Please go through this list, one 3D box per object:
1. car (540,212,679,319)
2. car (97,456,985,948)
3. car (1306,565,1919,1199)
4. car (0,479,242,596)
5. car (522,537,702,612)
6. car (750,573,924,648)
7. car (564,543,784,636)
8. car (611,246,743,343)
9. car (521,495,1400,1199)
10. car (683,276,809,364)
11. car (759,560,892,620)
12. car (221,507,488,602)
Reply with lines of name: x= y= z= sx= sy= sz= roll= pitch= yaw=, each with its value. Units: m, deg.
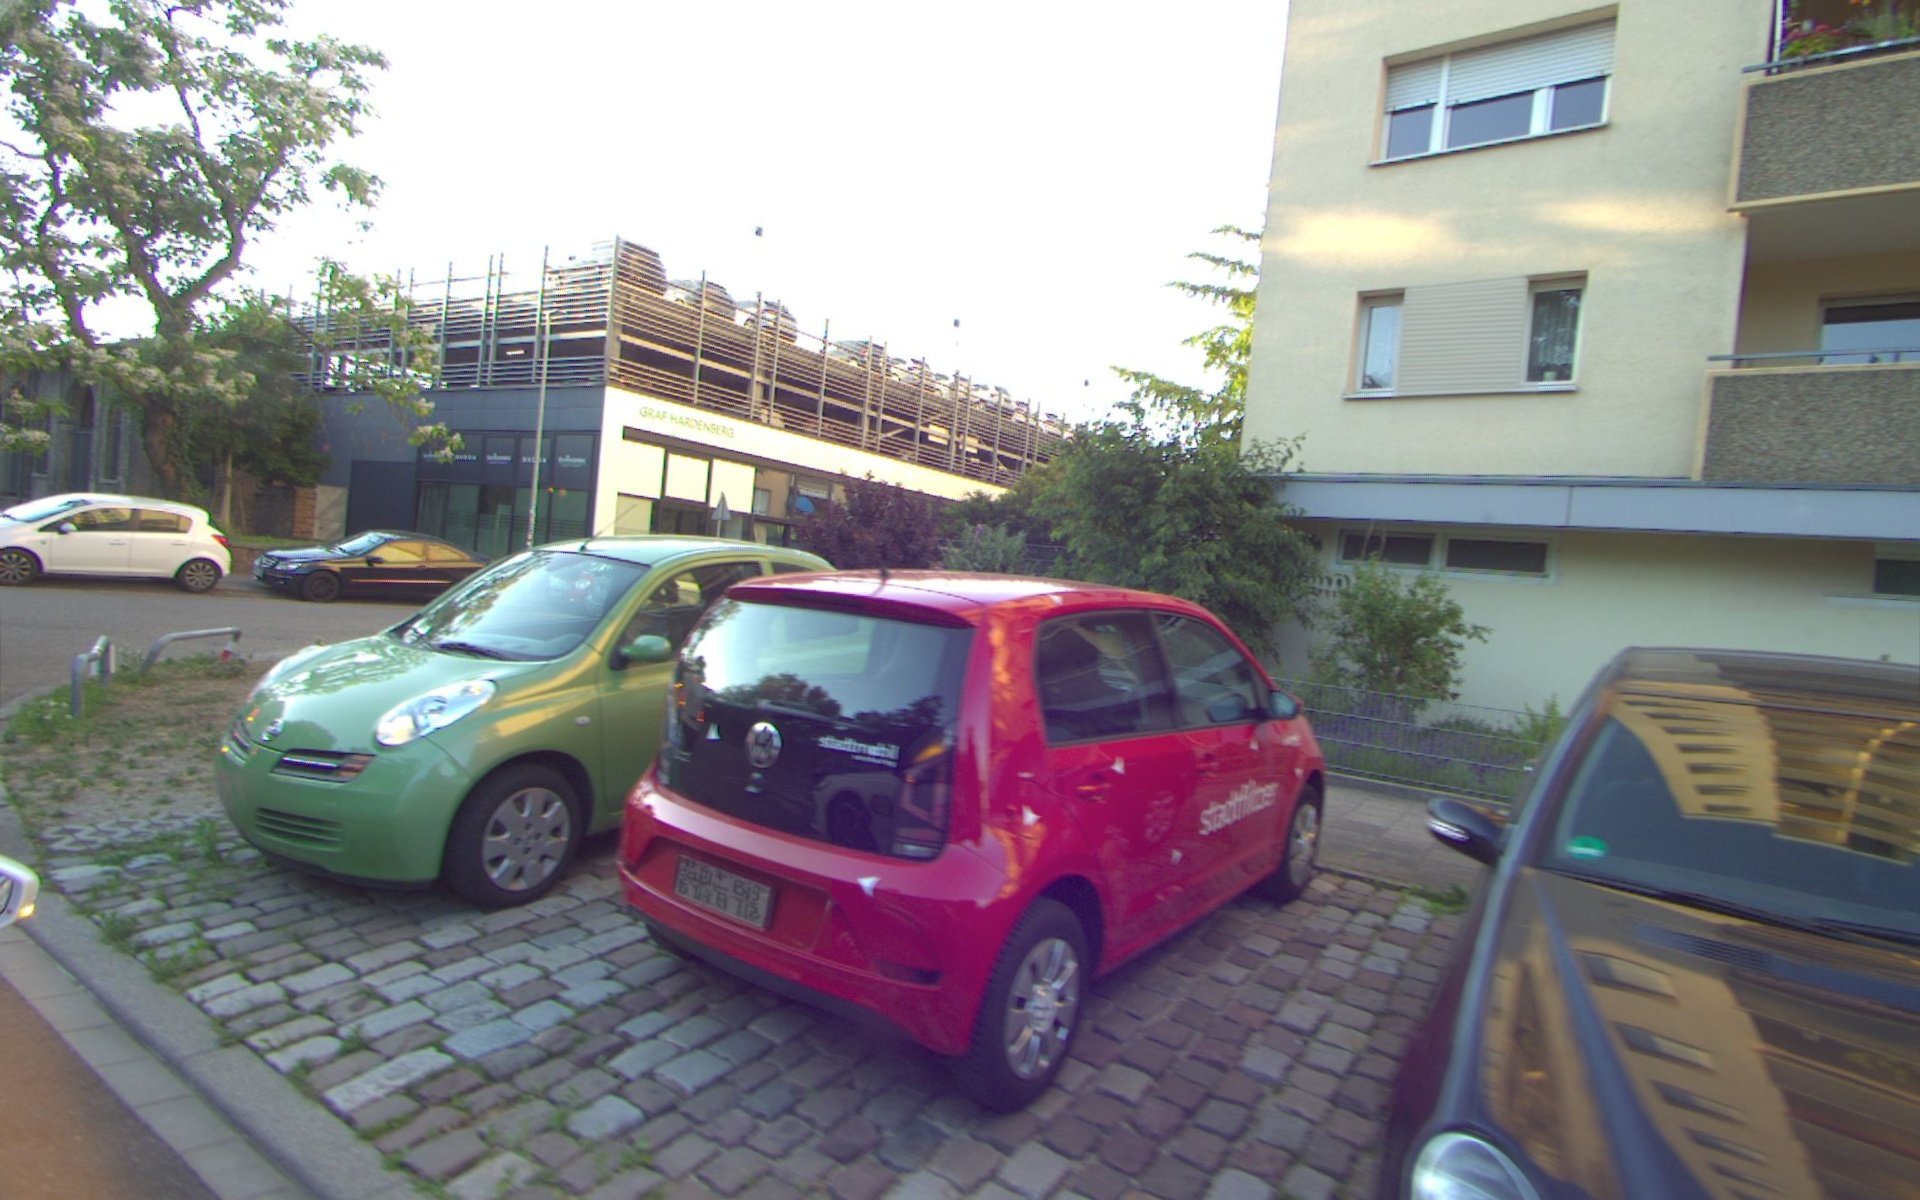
car: x=-10.546 y=-9.920 z=30.166 sx=3.941 sy=2.039 sz=1.992 roll=6 pitch=0 yaw=39
car: x=-1.771 y=0.359 z=5.726 sx=1.815 sy=1.652 sz=4.405 roll=4 pitch=1 yaw=31
car: x=2.355 y=0.841 z=2.722 sx=1.815 sy=1.551 sz=4.404 roll=4 pitch=1 yaw=31
car: x=-14.970 y=-1.075 z=17.196 sx=1.925 sy=1.593 sz=3.858 roll=7 pitch=0 yaw=31
car: x=-8.607 y=-0.593 z=25.130 sx=1.796 sy=1.523 sz=3.832 roll=7 pitch=2 yaw=38
car: x=-2.799 y=0.288 z=23.597 sx=1.796 sy=1.482 sz=3.832 roll=7 pitch=2 yaw=38
car: x=-5.599 y=-0.163 z=20.069 sx=1.796 sy=1.544 sz=3.832 roll=7 pitch=2 yaw=38
car: x=-9.116 y=-9.708 z=32.300 sx=3.941 sy=2.039 sz=1.992 roll=6 pitch=0 yaw=39
car: x=0.519 y=0.524 z=4.698 sx=1.817 sy=1.655 sz=4.395 roll=6 pitch=5 yaw=35
car: x=-7.351 y=-9.484 z=34.417 sx=3.941 sy=2.039 sz=1.992 roll=6 pitch=0 yaw=39
car: x=-4.087 y=-0.271 z=31.105 sx=1.796 sy=1.523 sz=3.832 roll=7 pitch=2 yaw=38
car: x=-12.258 y=-0.875 z=20.623 sx=1.796 sy=1.523 sz=4.287 roll=7 pitch=2 yaw=38
